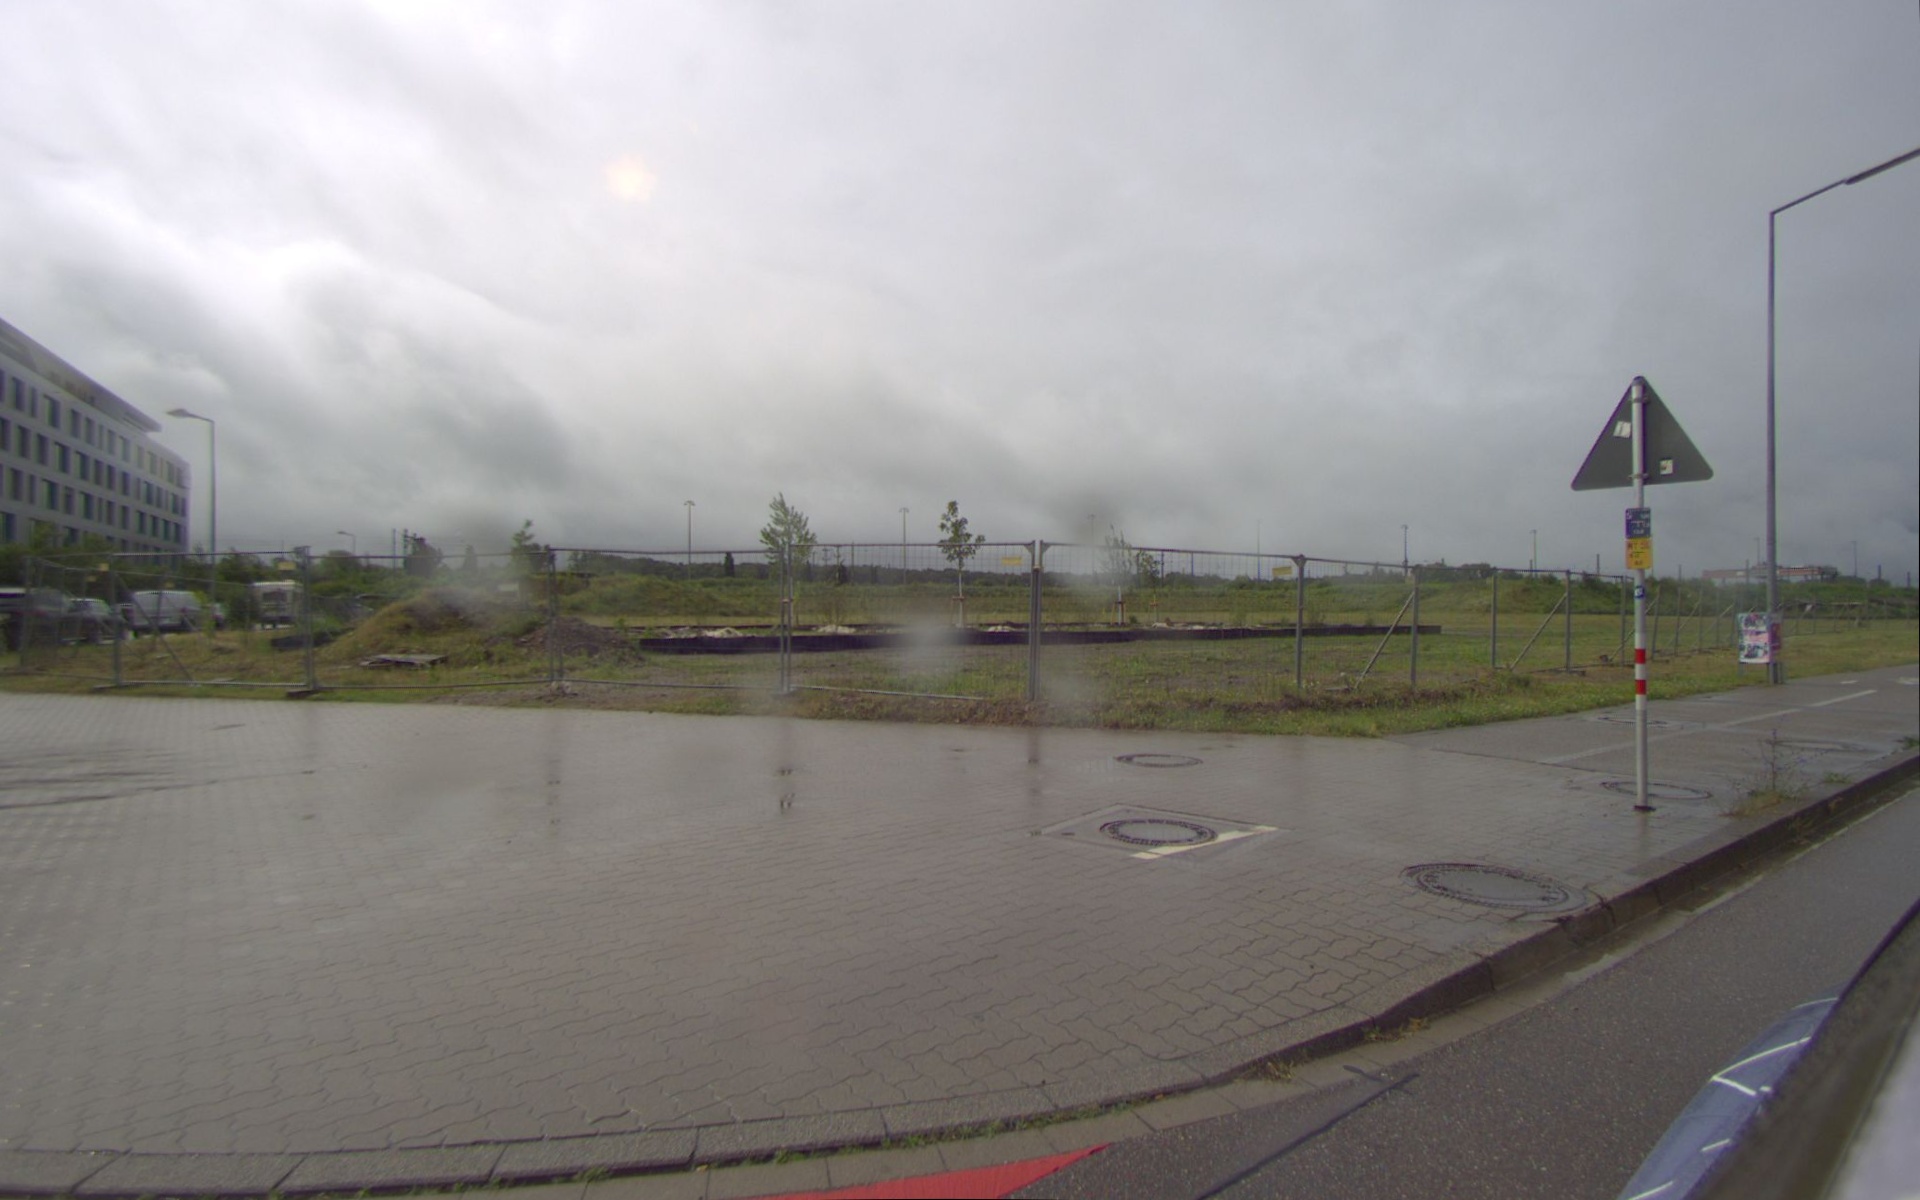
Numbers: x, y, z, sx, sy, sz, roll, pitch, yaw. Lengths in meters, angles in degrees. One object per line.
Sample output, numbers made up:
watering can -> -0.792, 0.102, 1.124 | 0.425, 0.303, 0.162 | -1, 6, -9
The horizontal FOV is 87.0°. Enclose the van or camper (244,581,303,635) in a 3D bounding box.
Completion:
van or camper -> -46.409, 0.613, 68.529 | 2.478, 3.244, 6.805 | 0, -4, -27

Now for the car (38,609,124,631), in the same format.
car -> -54.947, 1.252, 63.343 | 3.825, 1.313, 1.553 | 0, -4, -29

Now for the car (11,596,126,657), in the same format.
car -> -27.284, 0.852, 31.116 | 1.960, 1.663, 4.000 | 0, -4, -32

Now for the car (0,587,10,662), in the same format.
car -> -21.184, 0.573, 20.523 | 1.961, 1.638, 4.002 | -3, 1, -32

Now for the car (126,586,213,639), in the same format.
car -> -32.320, 0.547, 41.496 | 1.959, 1.796, 4.340 | 0, -6, -27

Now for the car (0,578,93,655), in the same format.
car -> -23.952, 0.482, 25.942 | 1.960, 1.751, 4.000 | 0, -4, -32

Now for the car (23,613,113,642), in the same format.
car -> -53.716, 1.632, 61.016 | 3.765, 1.637, 1.549 | 0, -4, -29

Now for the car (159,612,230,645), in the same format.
car -> -34.730, 1.299, 46.011 | 1.959, 1.433, 4.004 | 0, -2, -28

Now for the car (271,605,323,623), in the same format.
car -> -68.434, 1.444, 104.497 | 4.279, 1.710, 1.802 | 0, -4, -26
